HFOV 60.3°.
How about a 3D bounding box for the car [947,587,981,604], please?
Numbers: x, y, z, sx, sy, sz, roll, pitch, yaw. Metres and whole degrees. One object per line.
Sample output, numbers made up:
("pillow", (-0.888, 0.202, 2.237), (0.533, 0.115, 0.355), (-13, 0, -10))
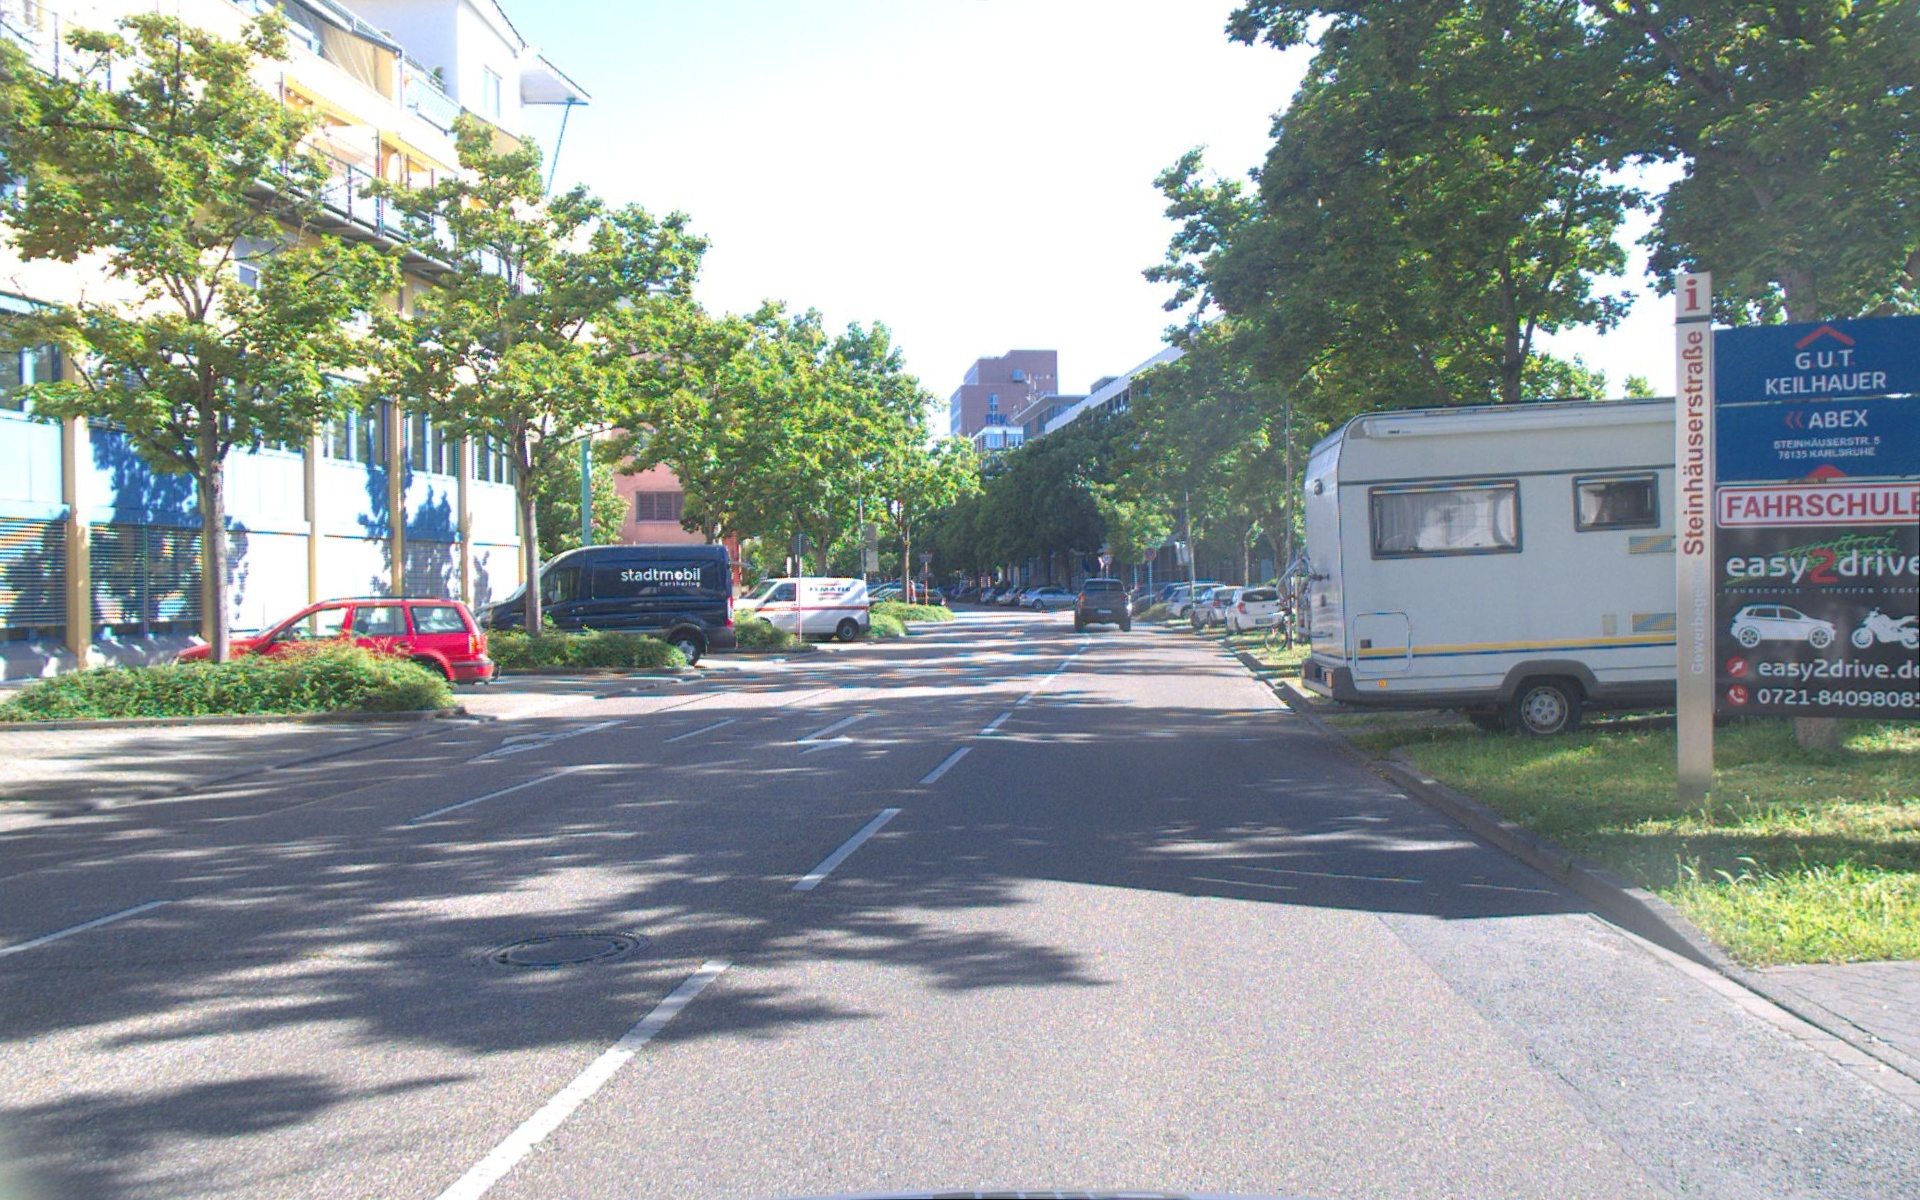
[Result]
("car", (0.378, -0.437, 156.890), (3.150, 1.434, 1.262), (-3, 0, -3))

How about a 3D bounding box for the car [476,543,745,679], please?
("car", (-7.198, 0.186, 34.033), (5.183, 2.590, 1.974), (-1, 0, -20))

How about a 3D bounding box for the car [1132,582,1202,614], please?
("car", (9.801, -0.089, 78.624), (3.176, 1.299, 1.517), (-3, 0, 4))

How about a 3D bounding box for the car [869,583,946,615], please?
("car", (-2.664, -0.063, 84.113), (3.806, 1.389, 1.409), (-3, 0, -3))

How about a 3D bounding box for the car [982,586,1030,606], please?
("car", (3.816, -0.327, 137.249), (3.869, 1.421, 1.515), (-3, 0, -3))

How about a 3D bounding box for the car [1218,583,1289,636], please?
("car", (9.013, 0.272, 50.942), (1.481, 1.508, 3.254), (-3, 0, -1))

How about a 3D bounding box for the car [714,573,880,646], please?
("car", (-5.117, 0.272, 52.091), (4.831, 2.119, 1.966), (-2, 0, -29))

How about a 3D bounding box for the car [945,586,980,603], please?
("car", (0.220, -0.541, 159.707), (3.214, 1.421, 1.515), (-3, 0, -3))

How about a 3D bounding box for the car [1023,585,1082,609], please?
("car", (6.319, -0.210, 113.311), (3.869, 1.421, 1.515), (-3, 0, -3))

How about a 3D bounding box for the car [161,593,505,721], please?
("car", (-8.727, 0.745, 23.347), (4.341, 1.579, 1.911), (-1, 0, -19))

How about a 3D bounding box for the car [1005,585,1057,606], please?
("car", (5.499, -0.376, 128.311), (3.869, 1.421, 1.515), (-3, 0, -3))

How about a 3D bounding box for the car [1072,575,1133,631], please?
("car", (5.137, 0.068, 59.913), (2.088, 1.867, 4.943), (-1, 1, 4))

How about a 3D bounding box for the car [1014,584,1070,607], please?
("car", (5.987, -0.311, 120.421), (3.869, 1.421, 1.515), (-3, 0, -3))

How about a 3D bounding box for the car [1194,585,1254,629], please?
("car", (9.360, 0.233, 58.839), (1.481, 1.421, 3.254), (-3, 0, -1))

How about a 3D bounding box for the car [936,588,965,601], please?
("car", (-1.064, -0.657, 182.282), (3.150, 1.249, 1.262), (-3, 0, -3))

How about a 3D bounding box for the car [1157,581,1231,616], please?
("car", (10.664, -0.073, 75.568), (3.176, 1.421, 1.517), (-3, 0, 4))

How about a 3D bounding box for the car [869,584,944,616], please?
("car", (-2.793, -0.003, 85.884), (3.806, 1.389, 1.409), (-3, 0, -3))

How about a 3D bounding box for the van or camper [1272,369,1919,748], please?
("van or camper", (6.150, -0.370, 15.562), (5.951, 2.979, 2.577), (-3, 0, 5))

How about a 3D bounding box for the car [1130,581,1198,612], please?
("car", (9.962, -0.162, 80.851), (3.176, 1.299, 1.517), (-3, 0, 4))

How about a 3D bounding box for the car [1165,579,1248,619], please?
("car", (10.070, -0.041, 67.649), (3.176, 1.421, 1.517), (-3, 0, 4))
